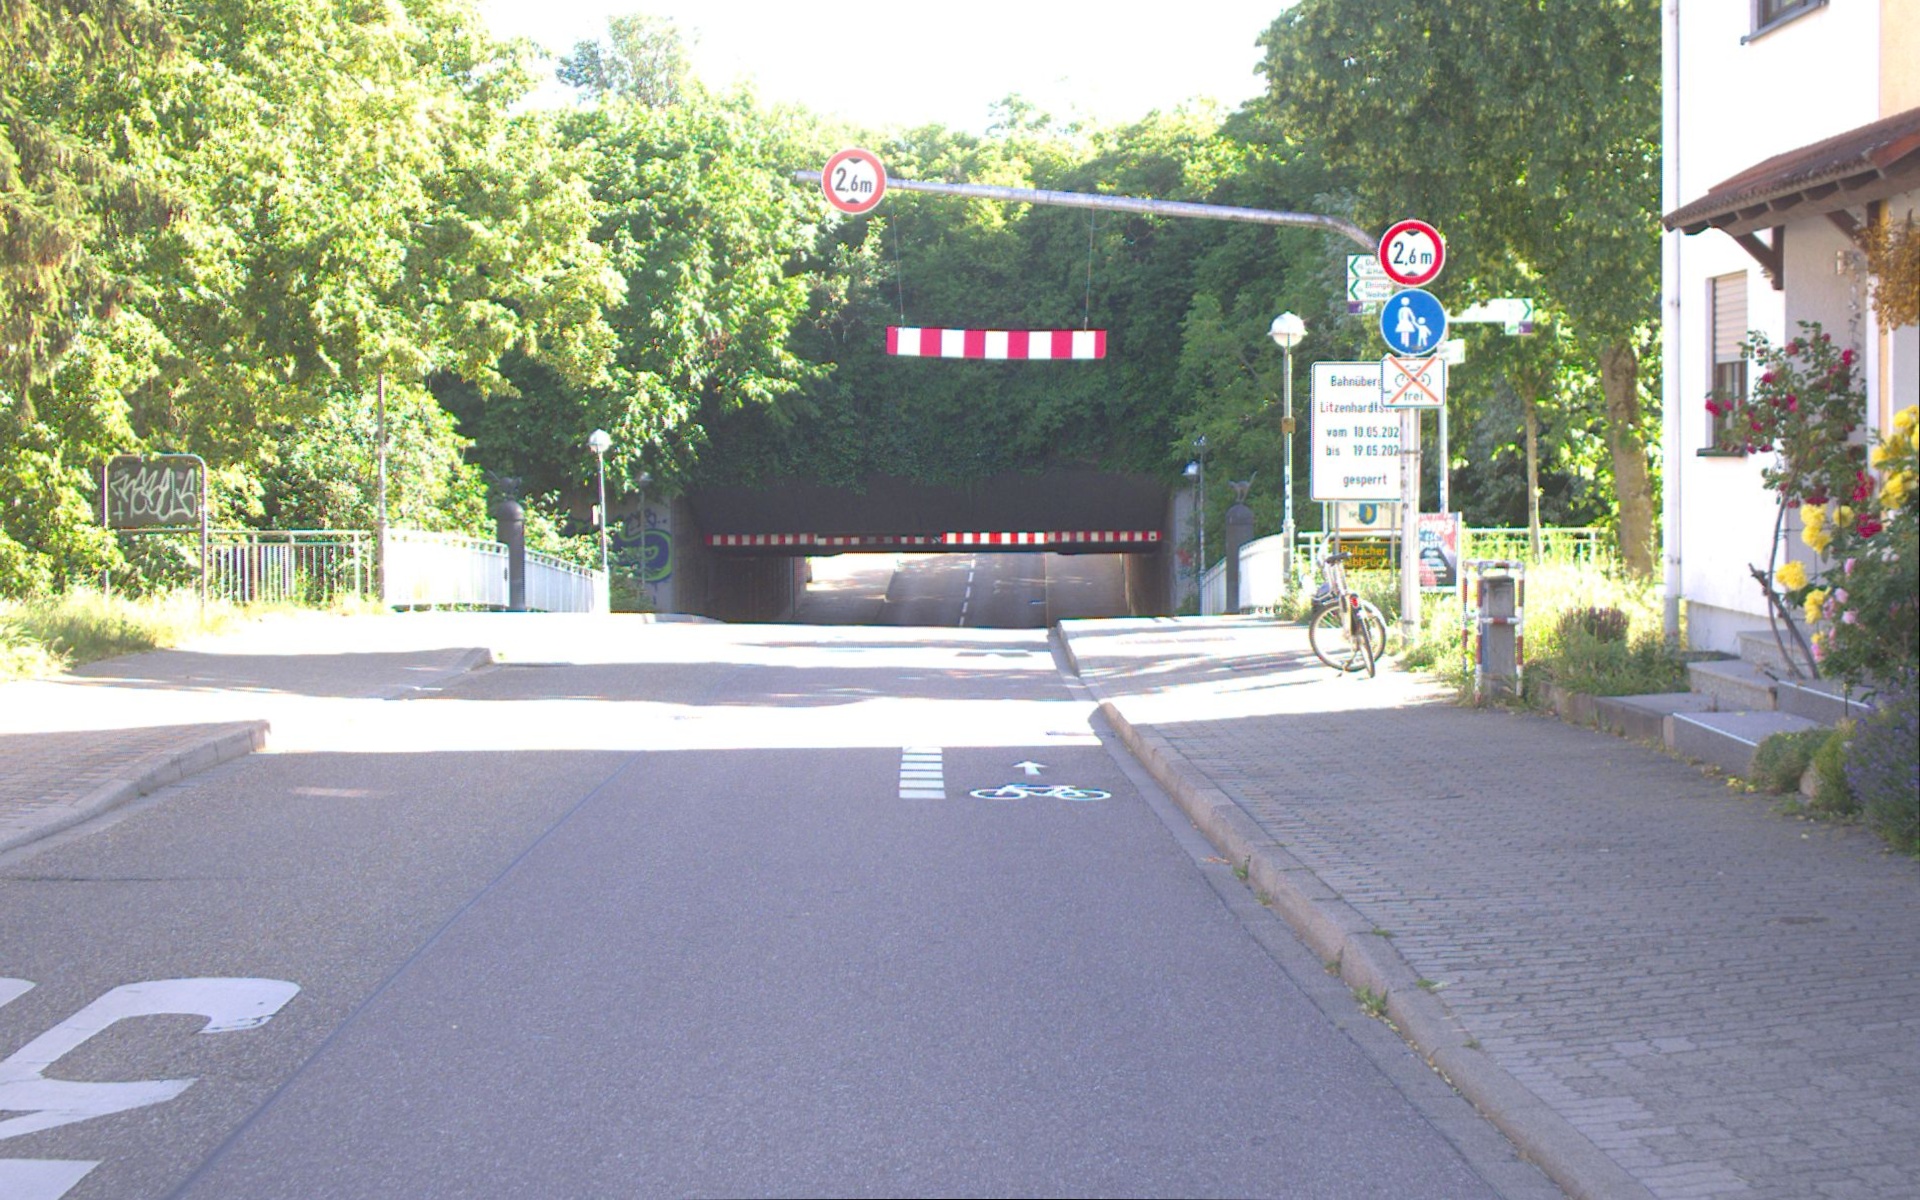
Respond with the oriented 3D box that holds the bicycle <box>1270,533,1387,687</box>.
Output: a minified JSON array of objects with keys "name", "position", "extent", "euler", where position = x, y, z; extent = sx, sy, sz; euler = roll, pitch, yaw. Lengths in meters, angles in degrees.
[{"name":"bicycle","position":[3.013,0.068,28.228],"extent":[0.688,1.153,1.540],"euler":[-5,2,-1]}]
